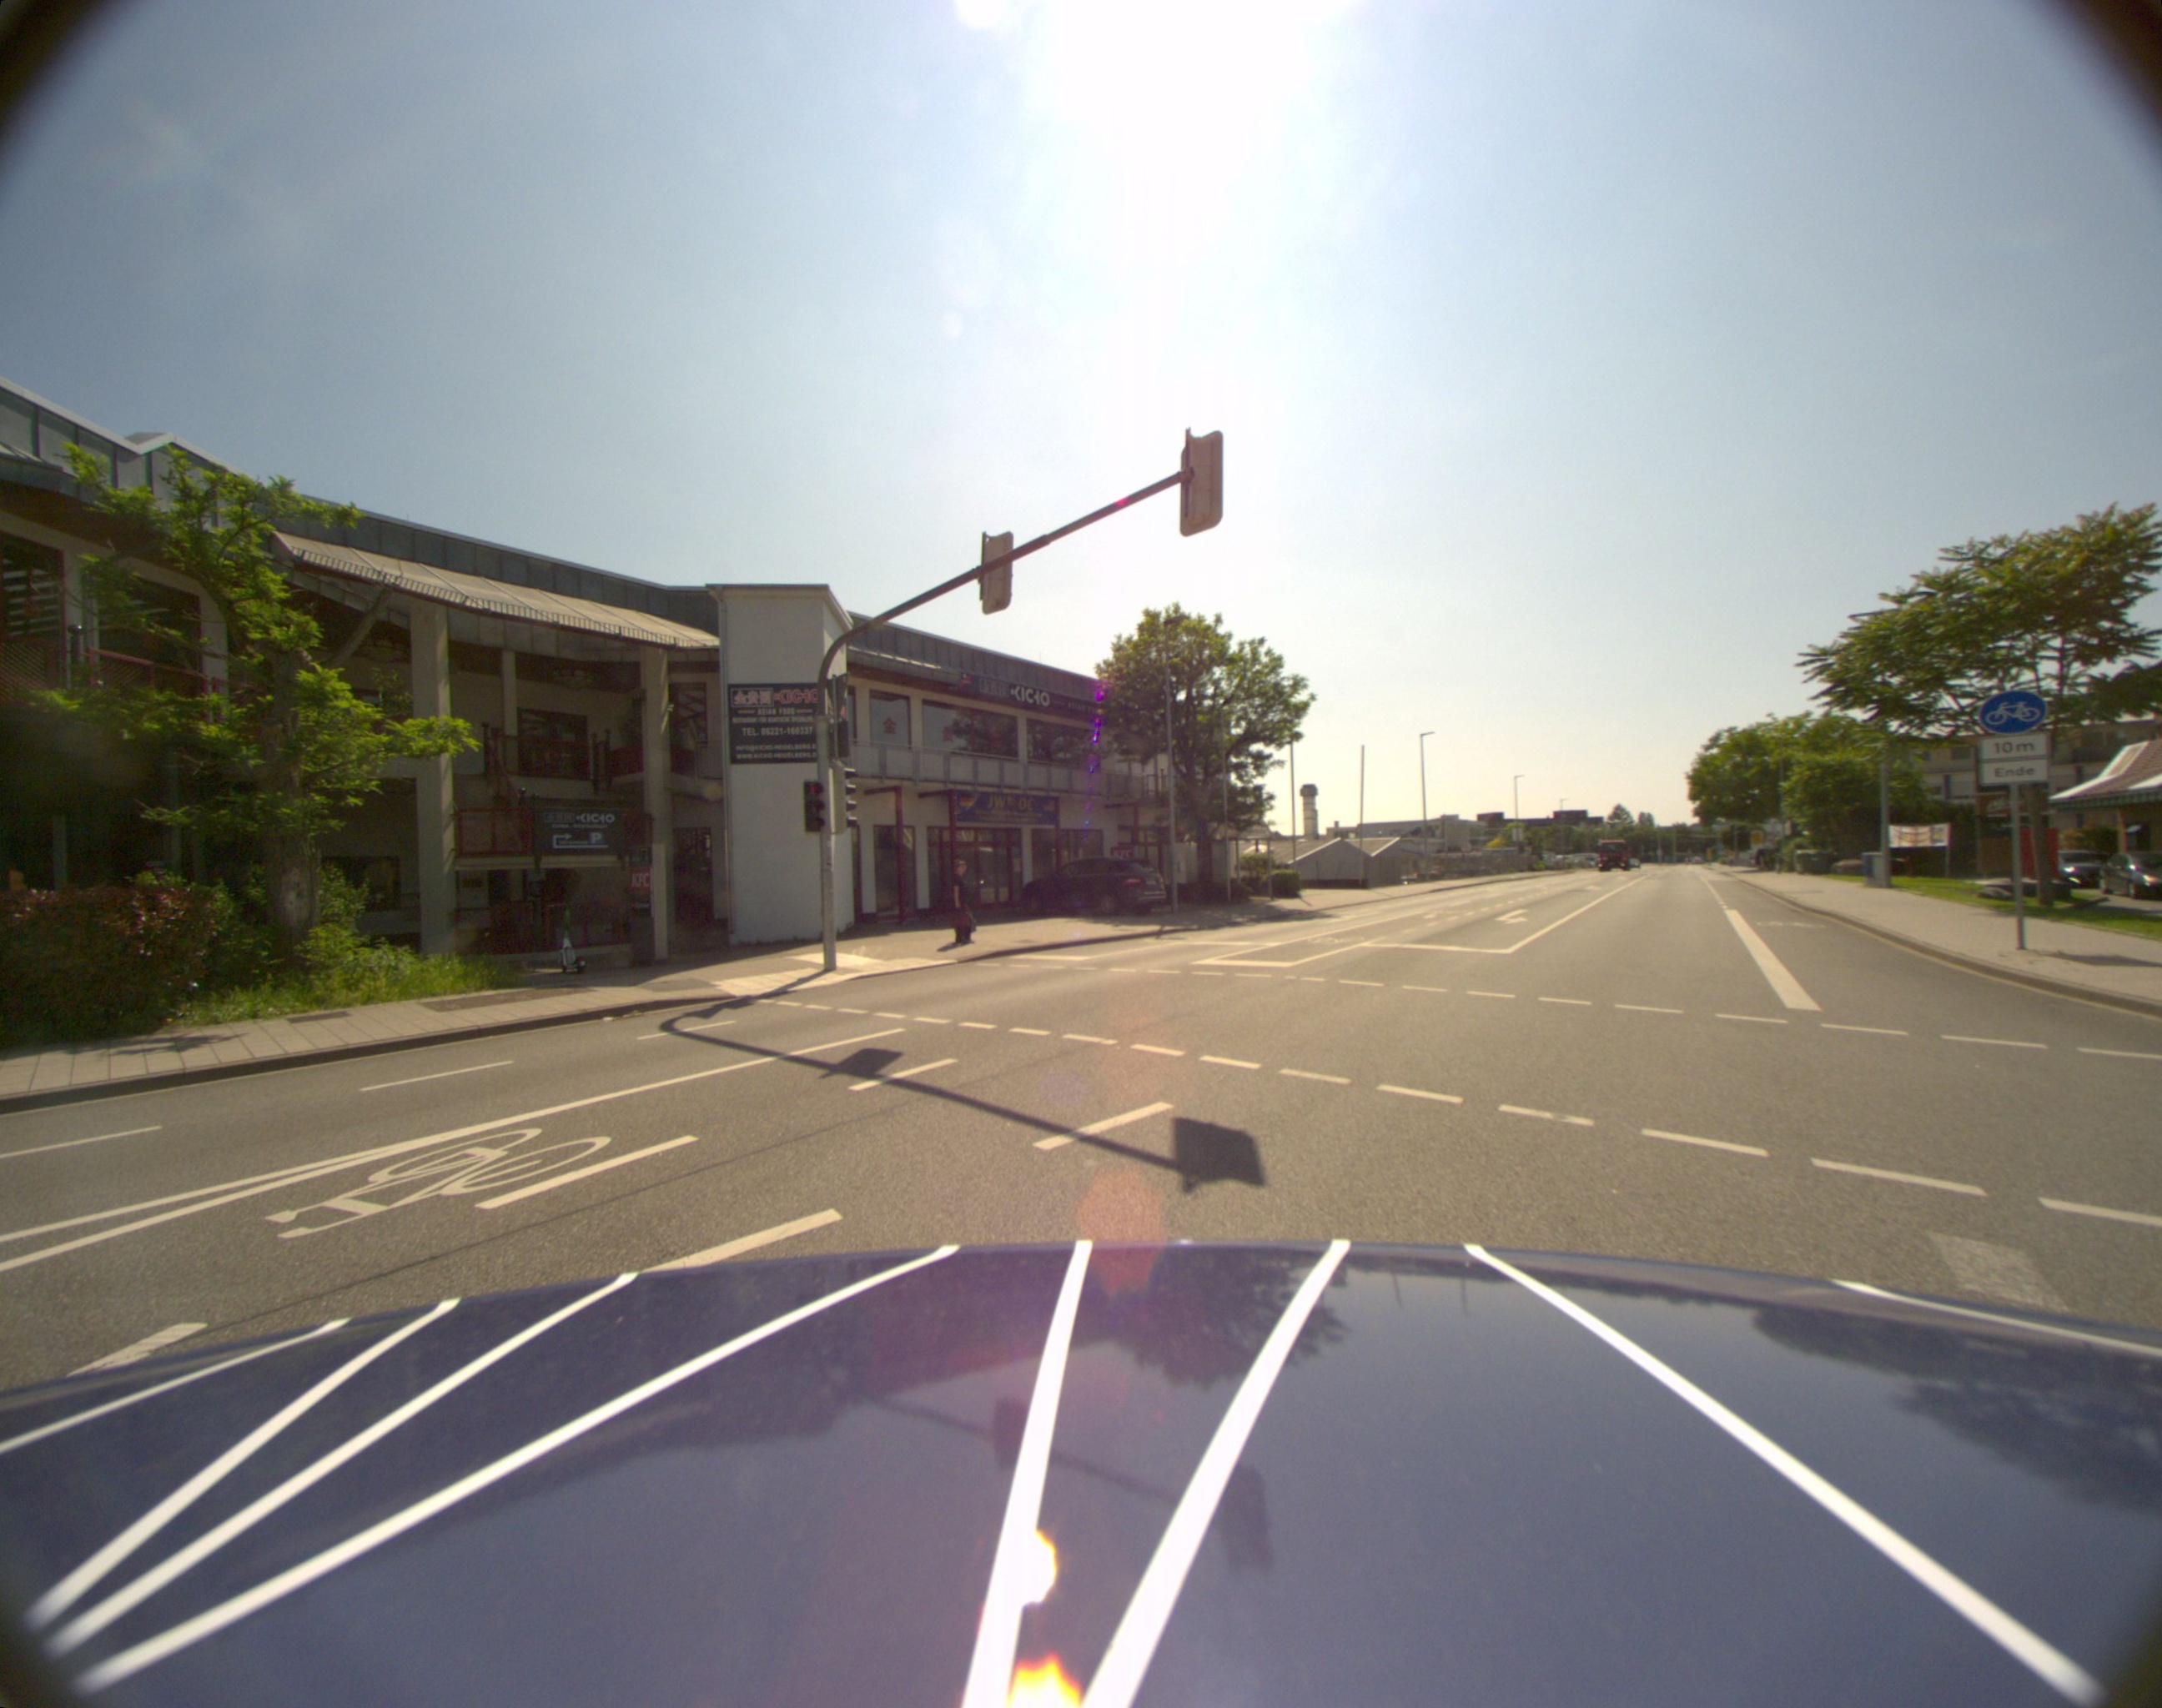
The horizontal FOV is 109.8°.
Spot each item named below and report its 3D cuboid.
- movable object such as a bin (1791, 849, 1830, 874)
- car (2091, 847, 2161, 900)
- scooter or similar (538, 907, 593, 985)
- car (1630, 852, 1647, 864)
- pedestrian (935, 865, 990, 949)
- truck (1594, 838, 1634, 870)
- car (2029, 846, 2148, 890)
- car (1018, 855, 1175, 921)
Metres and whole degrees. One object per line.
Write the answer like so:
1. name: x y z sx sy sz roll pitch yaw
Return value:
1. movable object such as a bin: 41.890 0.439 43.639 1.465 1.403 1.459 -2 0 38
2. car: 34.167 0.582 23.974 1.860 1.543 4.197 -2 0 40
3. scooter or similar: -8.401 1.462 12.366 0.502 1.117 1.500 -1 0 -43
4. car: 81.451 0.532 110.993 1.830 1.652 4.008 -2 0 35
5. pedestrian: -2.395 1.061 15.409 0.840 1.636 0.734 -1 0 12
6. truck: 59.822 -0.063 85.176 3.305 3.366 9.187 -2 0 37
7. car: 38.510 0.516 29.175 1.860 1.543 4.197 -2 0 40
8. car: 0.401 1.019 23.452 4.646 1.844 1.812 -2 0 38
